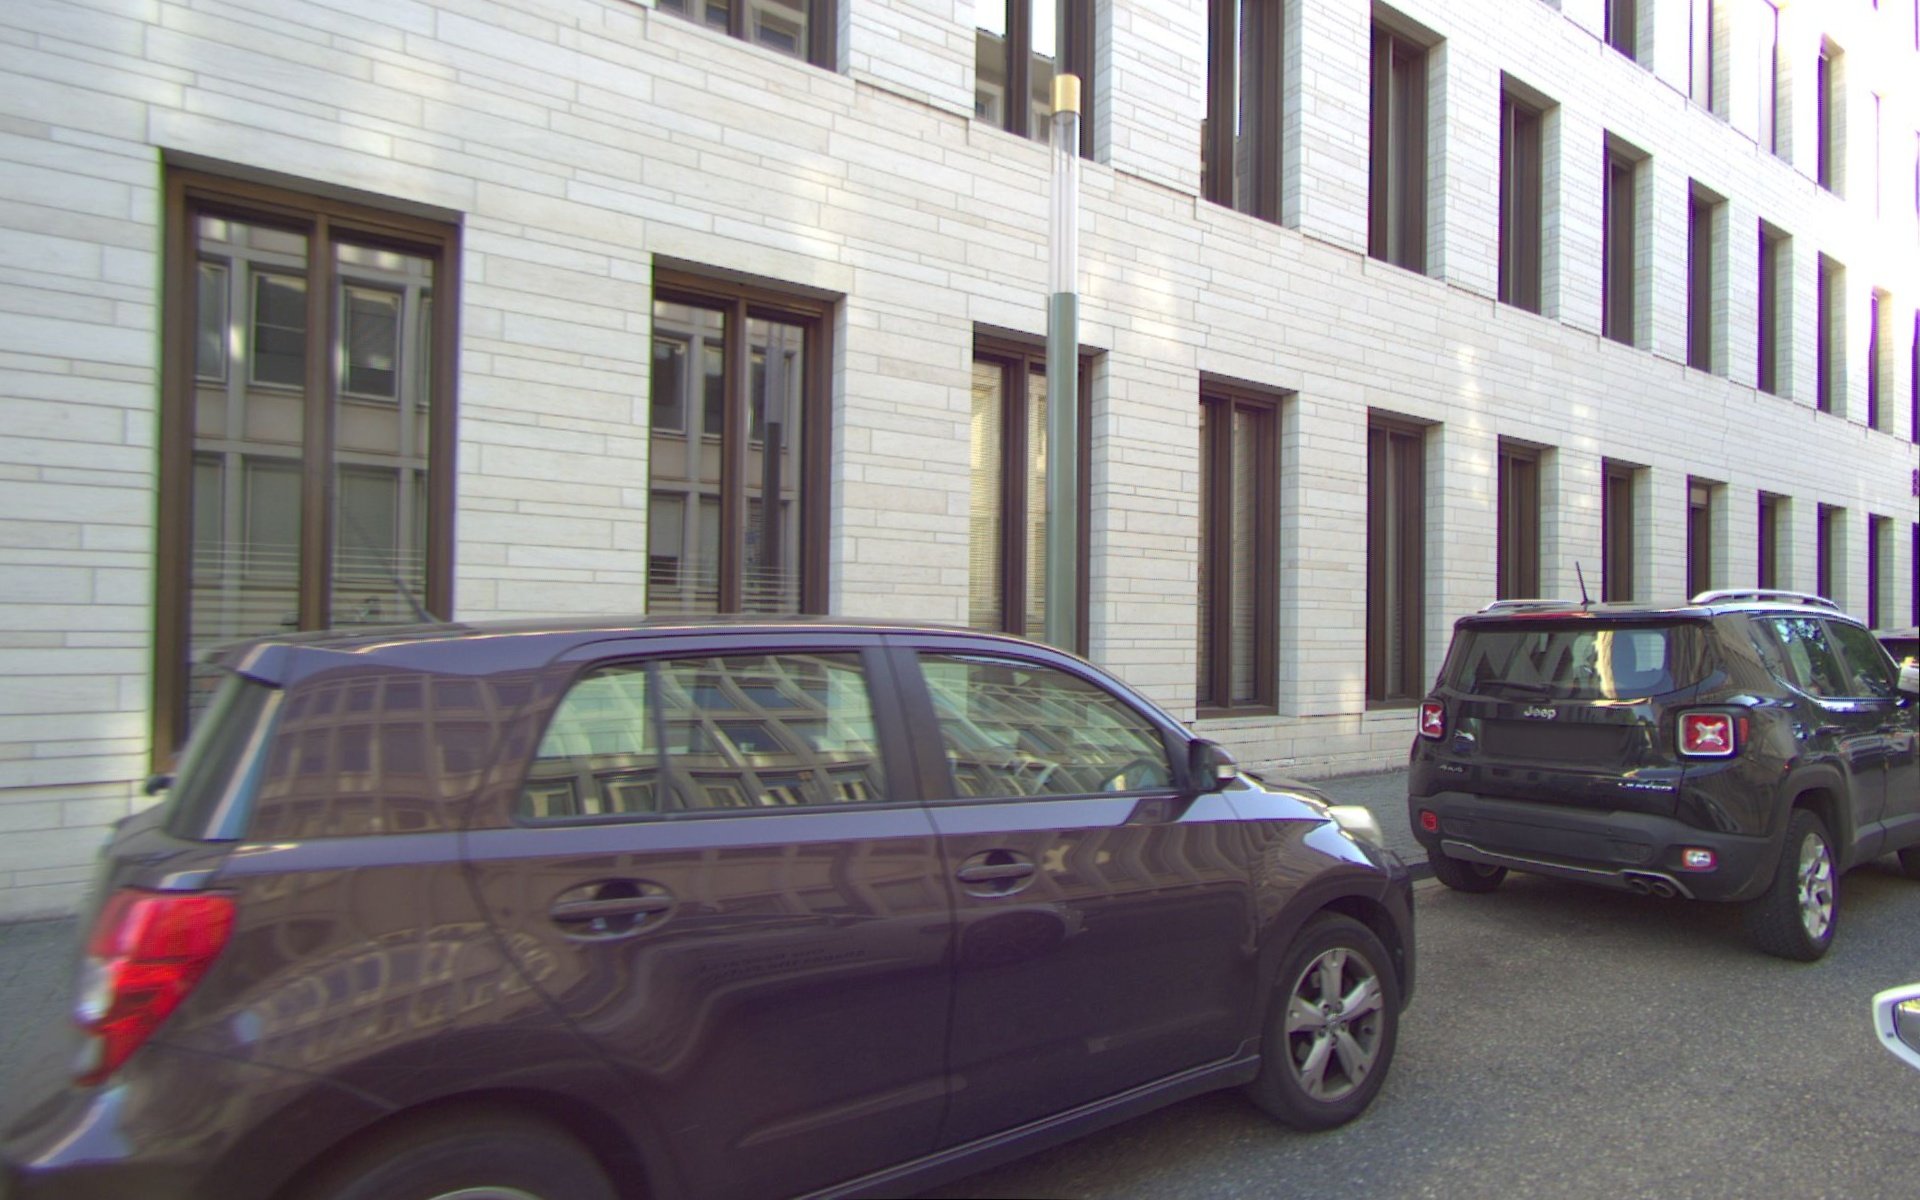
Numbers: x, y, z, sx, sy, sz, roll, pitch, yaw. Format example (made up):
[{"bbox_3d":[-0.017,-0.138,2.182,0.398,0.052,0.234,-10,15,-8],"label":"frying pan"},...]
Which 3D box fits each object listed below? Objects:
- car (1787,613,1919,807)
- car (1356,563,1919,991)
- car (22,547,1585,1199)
[{"bbox_3d":[9.718,0.958,9.531,4.110,1.615,1.730,1,-3,-34],"label":"car"},{"bbox_3d":[4.386,0.796,5.970,3.975,1.737,1.812,1,-3,-34],"label":"car"},{"bbox_3d":[0.036,0.762,3.255,4.218,1.562,1.812,1,-1,-34],"label":"car"}]
